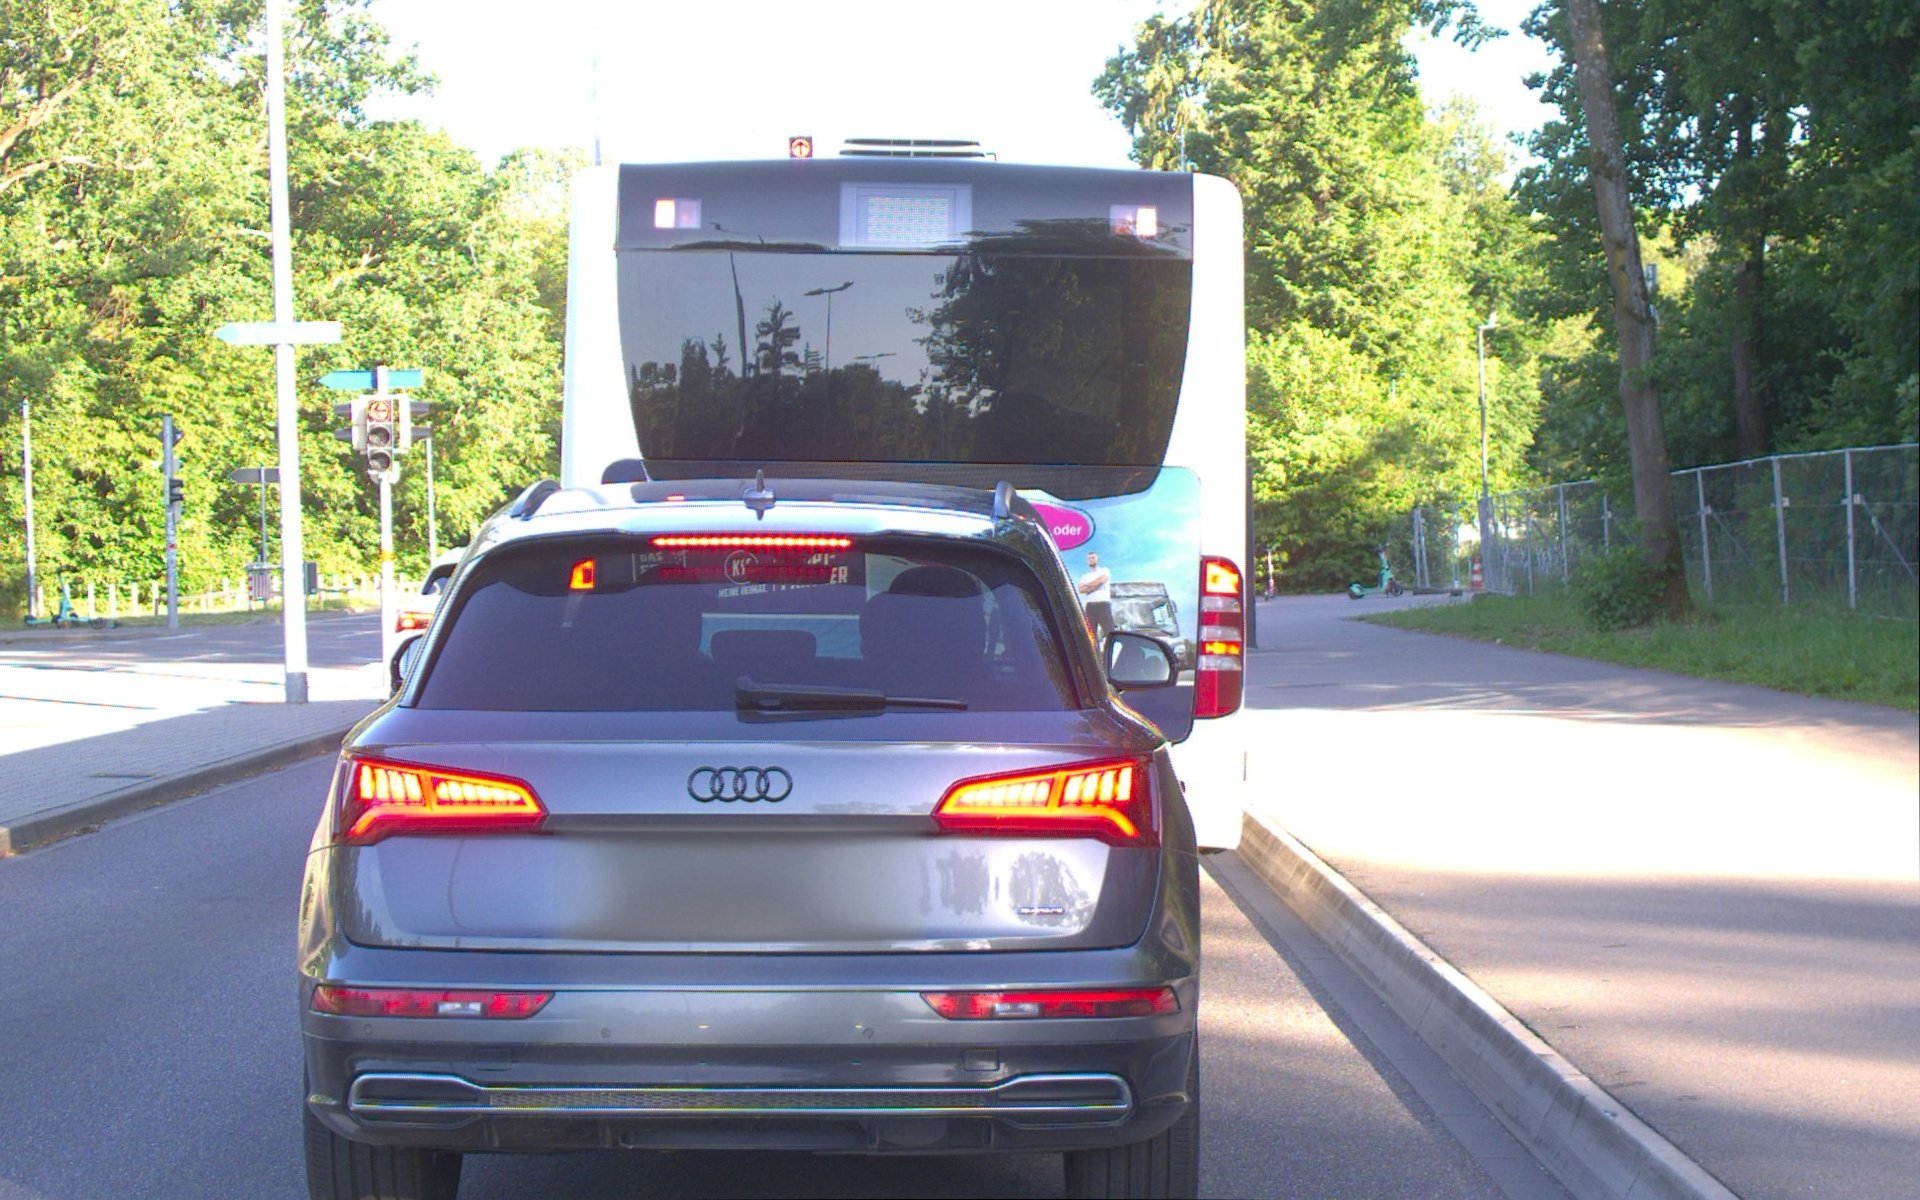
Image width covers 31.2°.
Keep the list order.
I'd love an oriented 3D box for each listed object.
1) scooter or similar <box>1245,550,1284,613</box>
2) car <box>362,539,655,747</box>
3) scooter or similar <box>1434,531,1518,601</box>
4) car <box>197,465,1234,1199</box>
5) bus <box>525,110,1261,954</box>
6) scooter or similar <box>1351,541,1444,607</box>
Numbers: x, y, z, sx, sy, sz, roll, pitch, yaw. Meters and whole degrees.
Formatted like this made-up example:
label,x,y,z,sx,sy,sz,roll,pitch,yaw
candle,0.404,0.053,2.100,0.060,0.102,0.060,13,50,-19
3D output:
label,x,y,z,sx,sy,sz,roll,pitch,yaw
scooter or similar,7.132,-0.435,80.625,0.508,1.439,2.023,-2,1,-6
car,-3.521,0.283,27.480,1.836,1.513,4.000,-1,1,-1
scooter or similar,11.875,-0.771,79.183,0.539,1.562,2.022,-3,1,-40
car,-0.474,0.536,8.332,1.898,1.626,4.000,0,1,-1
bus,-0.289,-0.275,16.822,2.594,2.978,9.327,0,0,-1
scooter or similar,9.913,-0.591,77.890,2.015,1.439,0.606,-2,1,-25
